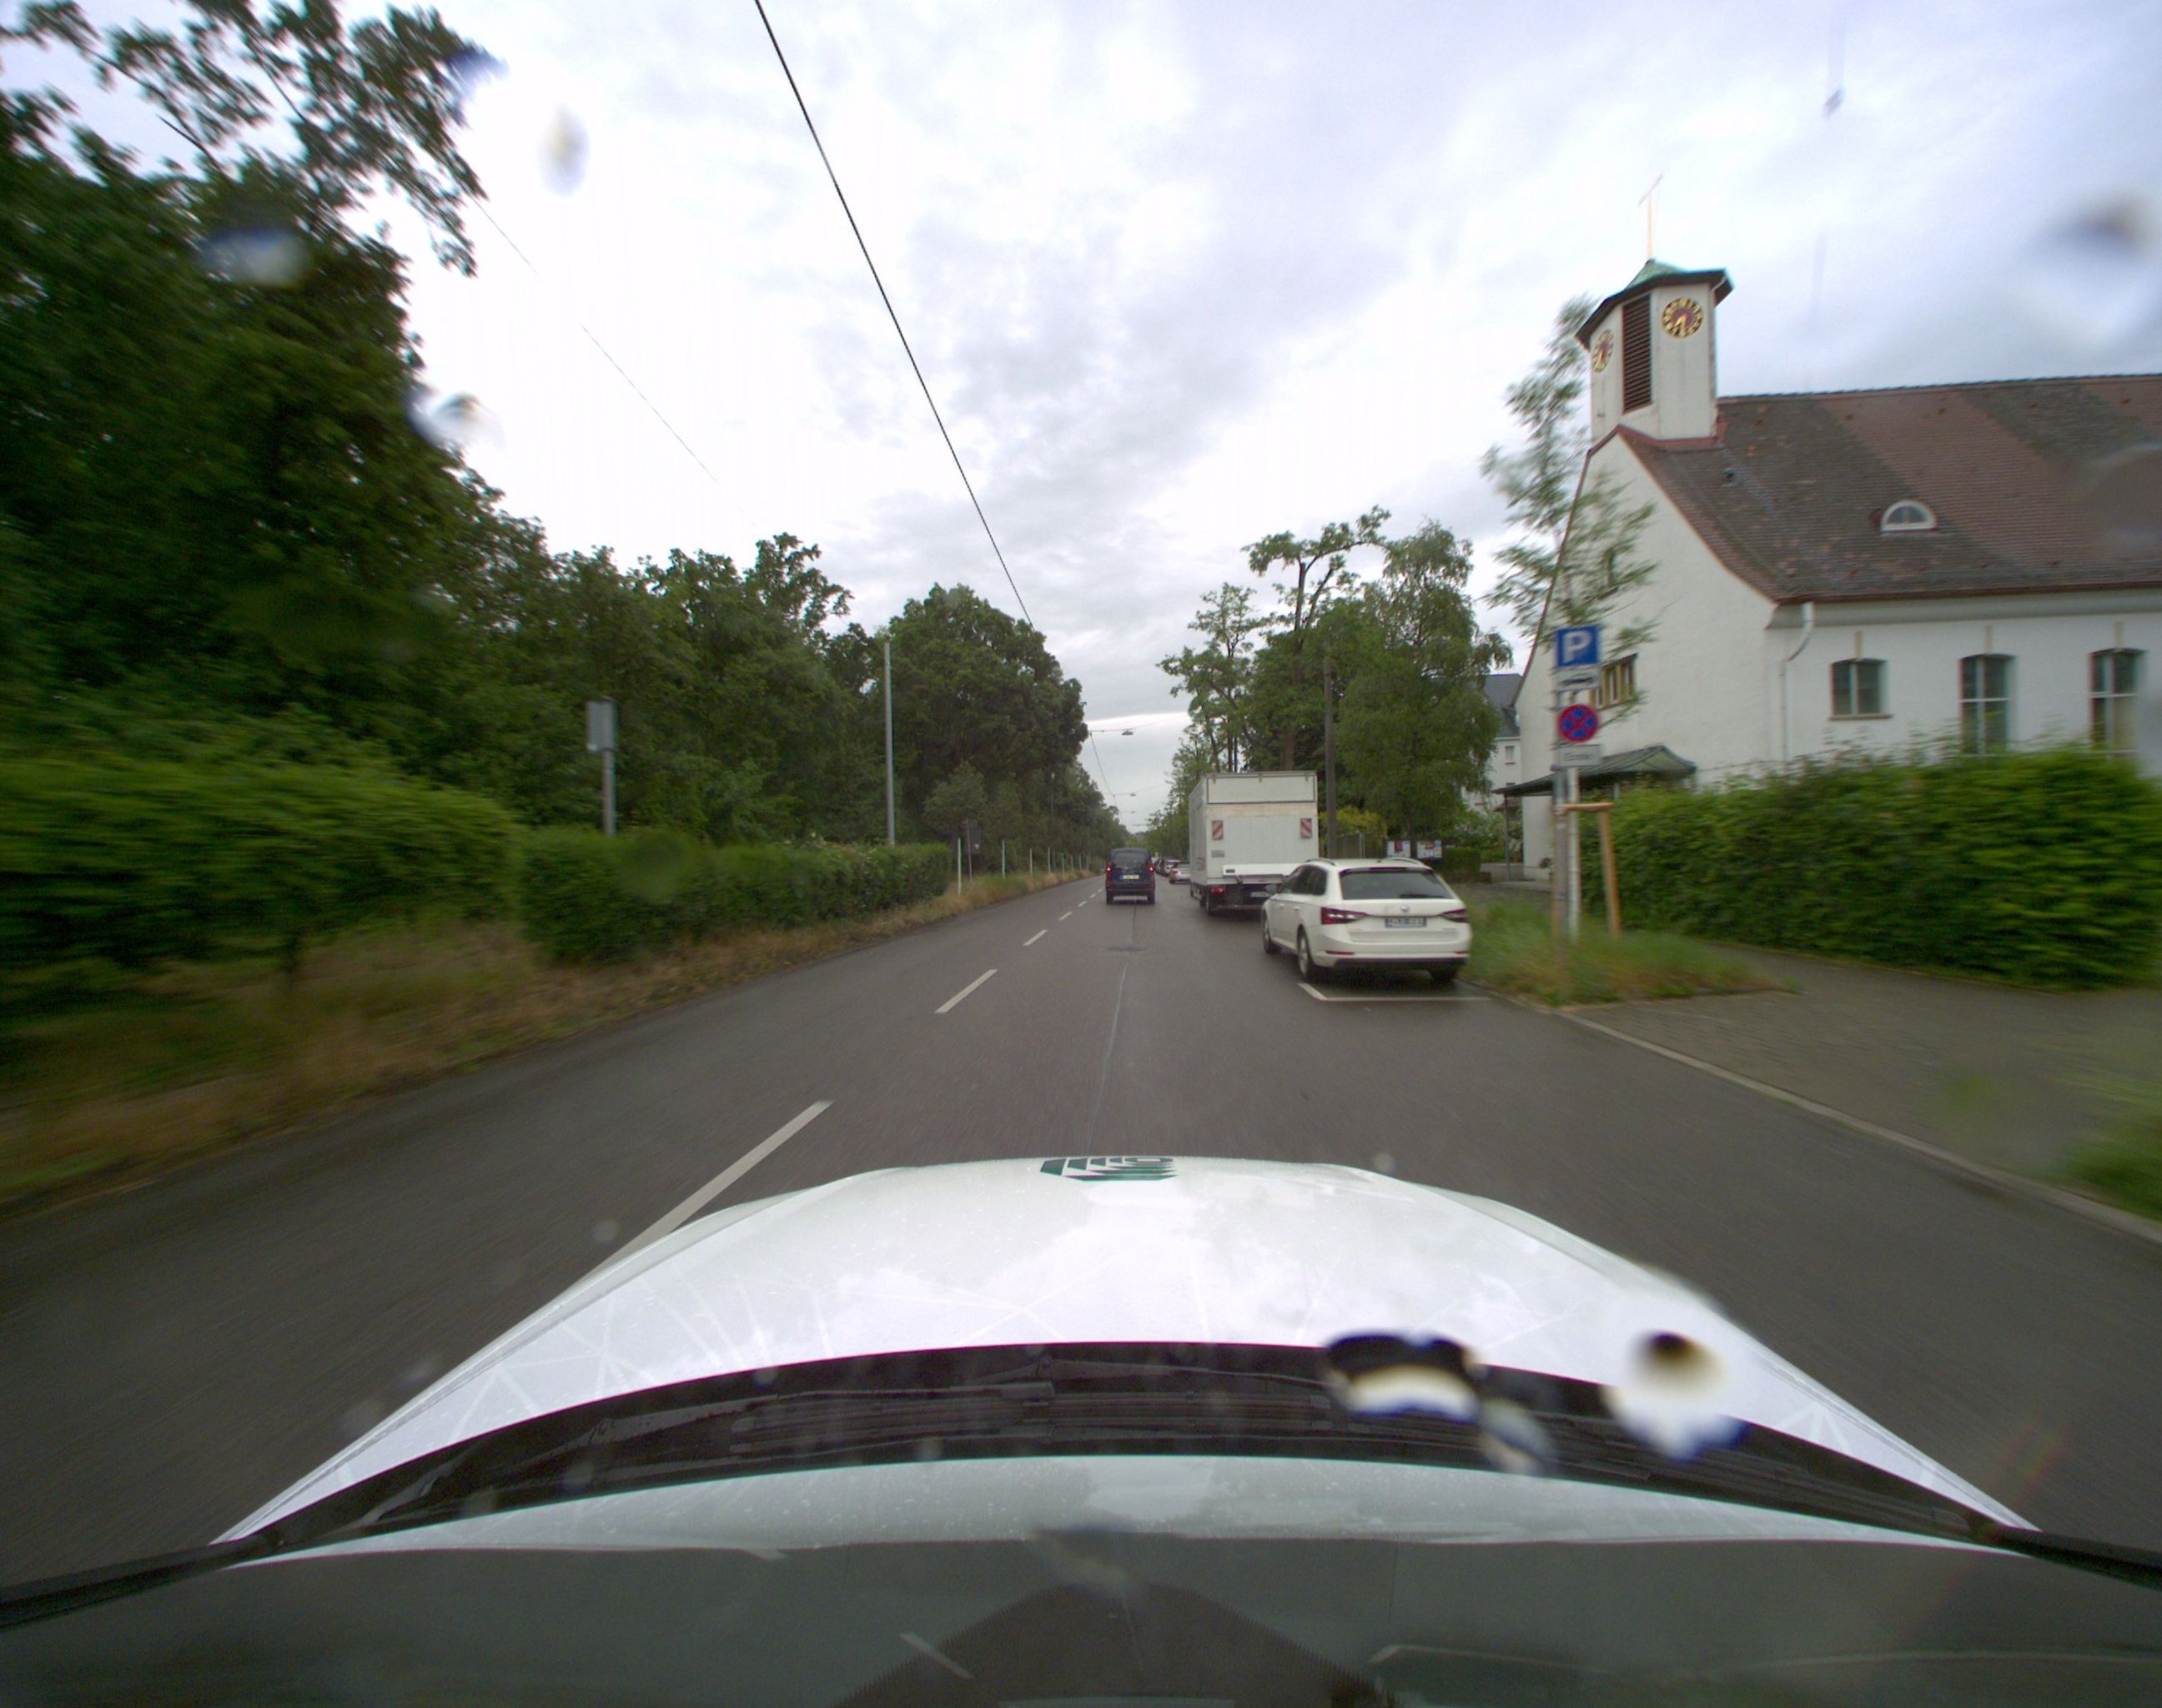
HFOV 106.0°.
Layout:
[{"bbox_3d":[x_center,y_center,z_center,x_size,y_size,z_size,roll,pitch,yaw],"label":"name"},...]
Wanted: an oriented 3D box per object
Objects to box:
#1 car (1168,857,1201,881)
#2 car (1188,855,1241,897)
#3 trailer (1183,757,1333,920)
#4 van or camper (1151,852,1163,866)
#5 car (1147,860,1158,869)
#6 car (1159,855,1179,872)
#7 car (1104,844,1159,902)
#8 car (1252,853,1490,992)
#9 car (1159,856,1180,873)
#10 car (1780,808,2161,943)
[{"bbox_3d":[6.286,0.897,49.812,1.774,1.395,4.003,0,0,3],"label":"car"},{"bbox_3d":[5.003,0.792,30.912,1.633,1.464,4.004,0,0,4],"label":"car"},{"bbox_3d":[4.307,-0.319,21.618,2.722,3.508,8.256,0,0,4],"label":"trailer"},{"bbox_3d":[13.997,0.910,150.586,2.069,2.650,5.352,0,0,4],"label":"van or camper"},{"bbox_3d":[12.558,1.853,142.870,1.617,1.464,3.815,0,0,7],"label":"car"},{"bbox_3d":[8.247,0.851,76.566,1.671,1.555,4.080,0,0,4],"label":"car"},{"bbox_3d":[1.658,0.611,27.769,1.760,1.830,3.543,0,0,1],"label":"car"},{"bbox_3d":[3.552,0.730,10.912,1.788,1.474,4.552,0,0,3],"label":"car"},{"bbox_3d":[7.794,0.889,71.661,1.730,1.464,3.729,0,0,4],"label":"car"},{"bbox_3d":[11.834,0.261,11.207,1.638,1.519,3.393,-2,0,4],"label":"car"}]
